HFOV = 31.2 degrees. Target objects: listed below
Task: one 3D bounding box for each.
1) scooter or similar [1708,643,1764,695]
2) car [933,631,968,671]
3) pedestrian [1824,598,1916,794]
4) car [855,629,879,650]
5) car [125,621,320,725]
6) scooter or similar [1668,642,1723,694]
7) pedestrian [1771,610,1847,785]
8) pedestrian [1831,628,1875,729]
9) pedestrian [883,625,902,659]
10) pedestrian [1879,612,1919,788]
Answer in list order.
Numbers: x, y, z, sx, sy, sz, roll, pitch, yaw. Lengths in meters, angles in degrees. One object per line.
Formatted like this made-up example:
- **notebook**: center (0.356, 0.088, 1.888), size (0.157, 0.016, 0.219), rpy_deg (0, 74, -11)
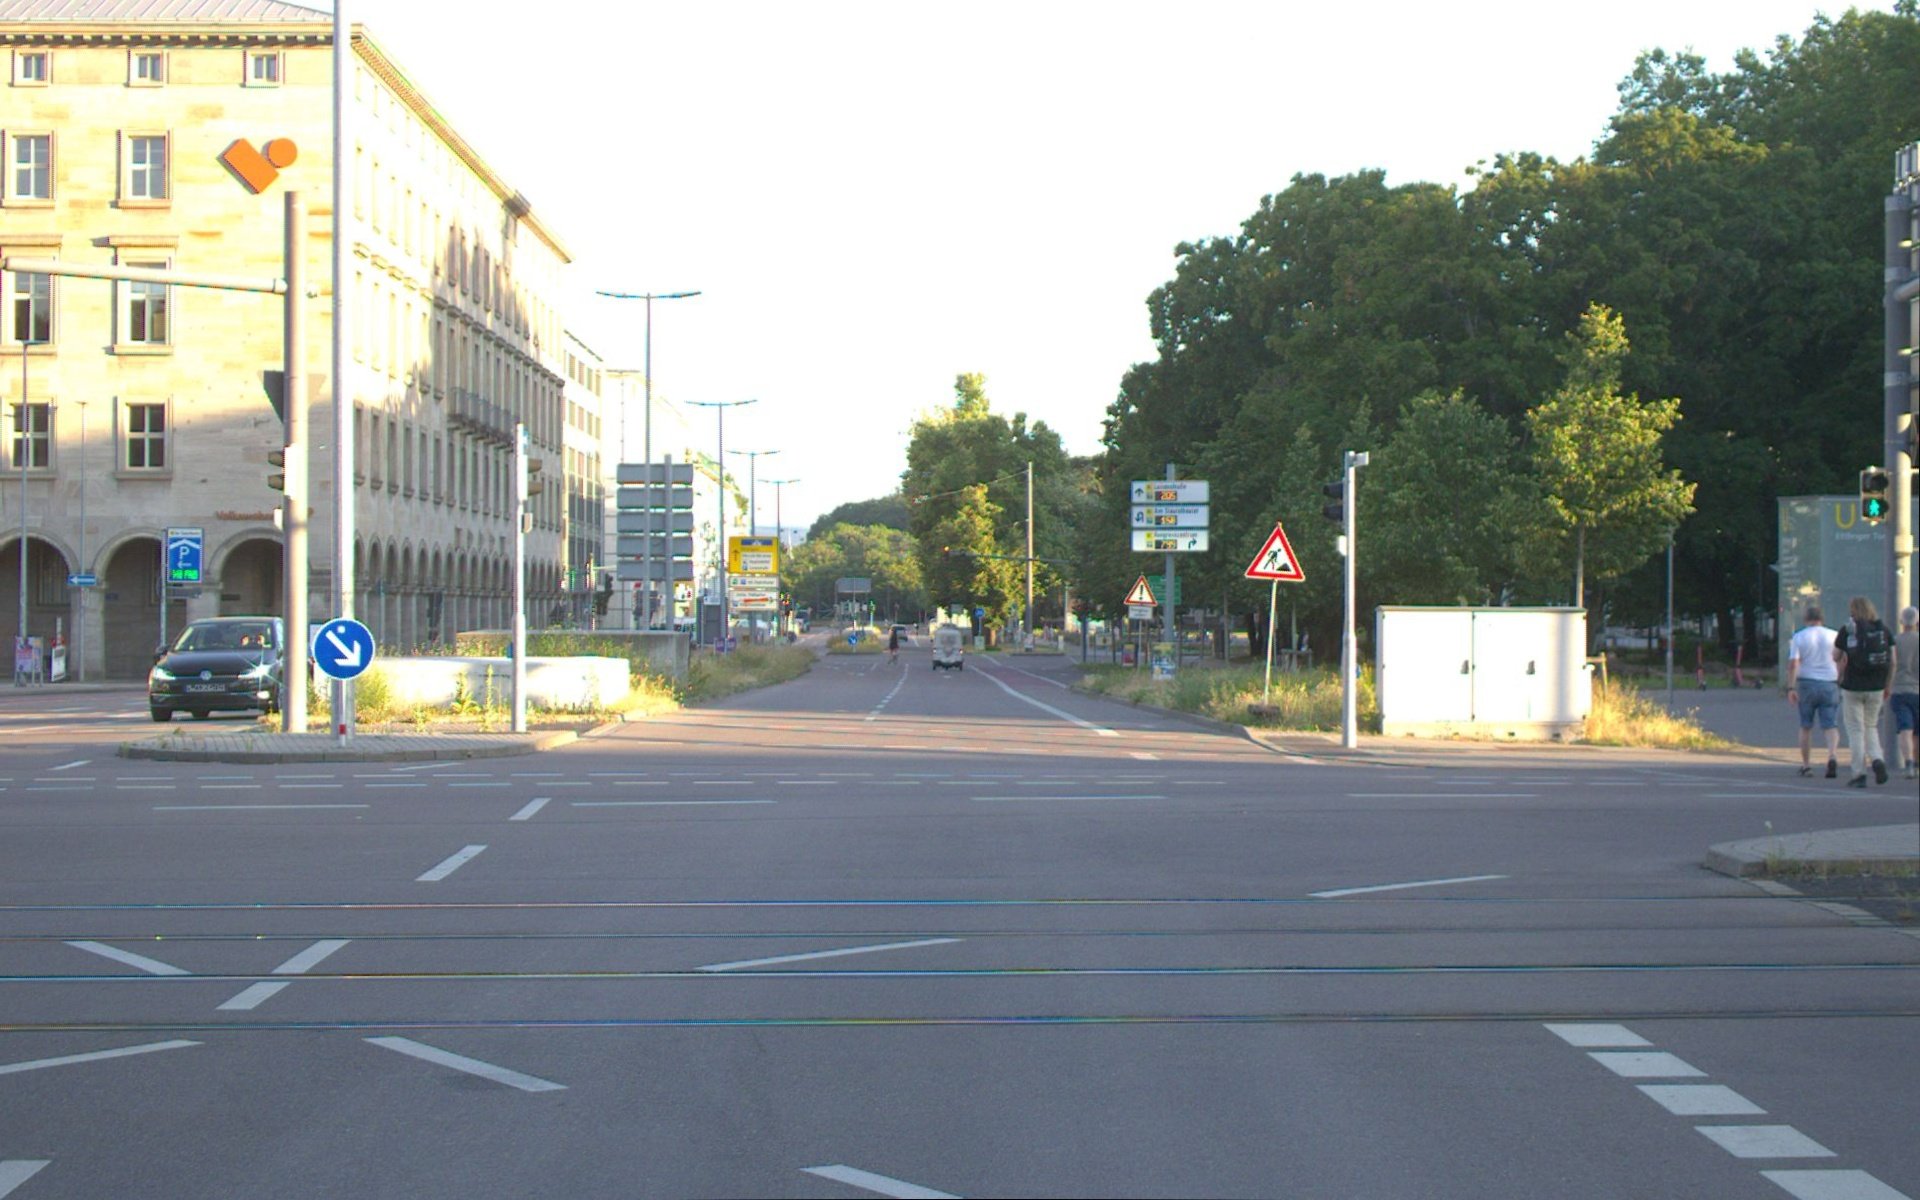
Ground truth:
- **scooter or similar**: center (18.711, 1.654, 82.979), size (0.569, 1.199, 2.984), rpy_deg (0, 0, -2)
- **car**: center (-0.406, 2.203, 148.692), size (1.483, 1.690, 2.974), rpy_deg (0, 0, -1)
- **pedestrian**: center (8.127, 0.844, 30.736), size (0.711, 1.719, 0.914), rpy_deg (0, 0, 10)
- **car**: center (-5.707, 2.426, 210.800), size (1.370, 1.230, 3.045), rpy_deg (0, 0, 1)
- **car**: center (-10.285, 0.996, 48.226), size (1.823, 1.337, 4.000), rpy_deg (0, 0, 1)
- **scooter or similar**: center (17.690, 1.625, 82.763), size (0.569, 1.199, 2.984), rpy_deg (0, 0, -2)
- **pedestrian**: center (8.482, 0.961, 34.335), size (0.711, 1.719, 0.668), rpy_deg (0, 0, 15)
- **pedestrian**: center (16.438, 1.443, 63.300), size (0.666, 1.836, 0.713), rpy_deg (0, 0, 4)
- **pedestrian**: center (-3.340, 2.058, 170.185), size (0.906, 1.665, 1.307), rpy_deg (0, 0, -2)
- **pedestrian**: center (9.527, 0.988, 34.215), size (0.711, 1.719, 0.668), rpy_deg (0, 0, 16)
